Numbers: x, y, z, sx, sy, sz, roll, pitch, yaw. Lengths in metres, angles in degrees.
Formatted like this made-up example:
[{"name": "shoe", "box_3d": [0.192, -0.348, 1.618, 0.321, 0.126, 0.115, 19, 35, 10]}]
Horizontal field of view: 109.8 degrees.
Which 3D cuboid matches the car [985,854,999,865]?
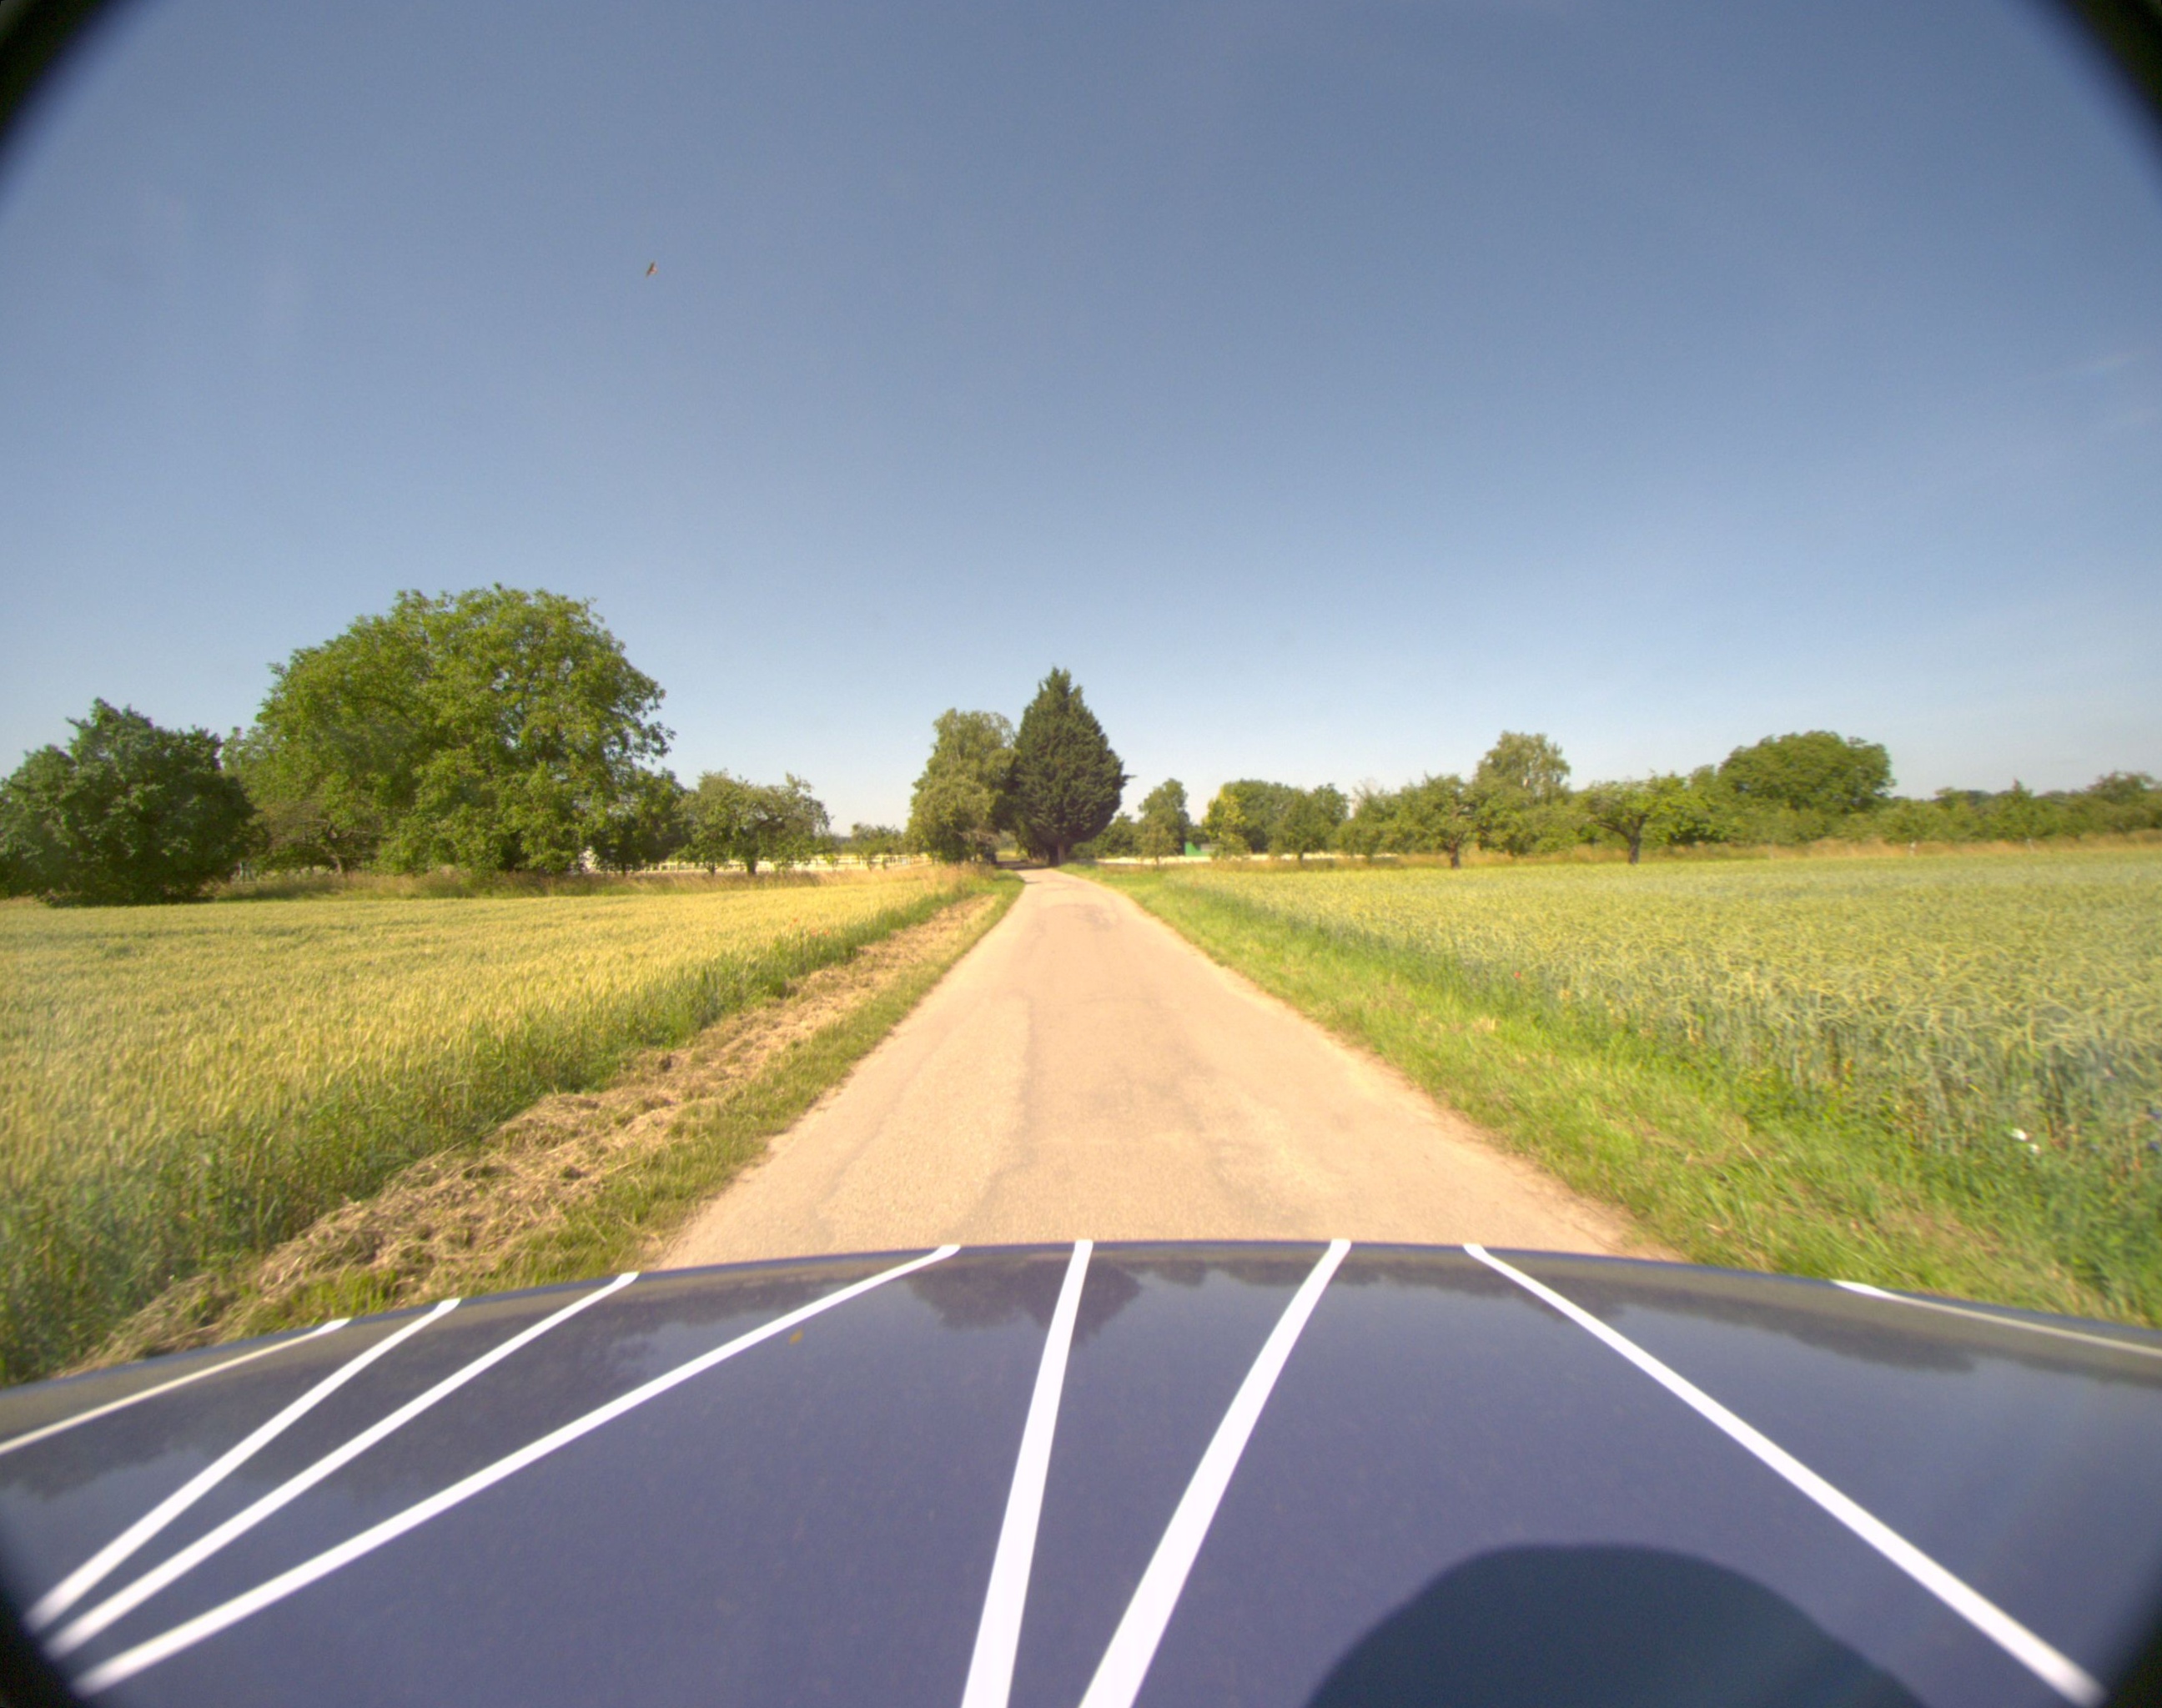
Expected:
[{"name": "car", "box_3d": [-12.145, 0.739, 103.979, 1.723, 1.312, 3.740, -1, 1, -9]}]
